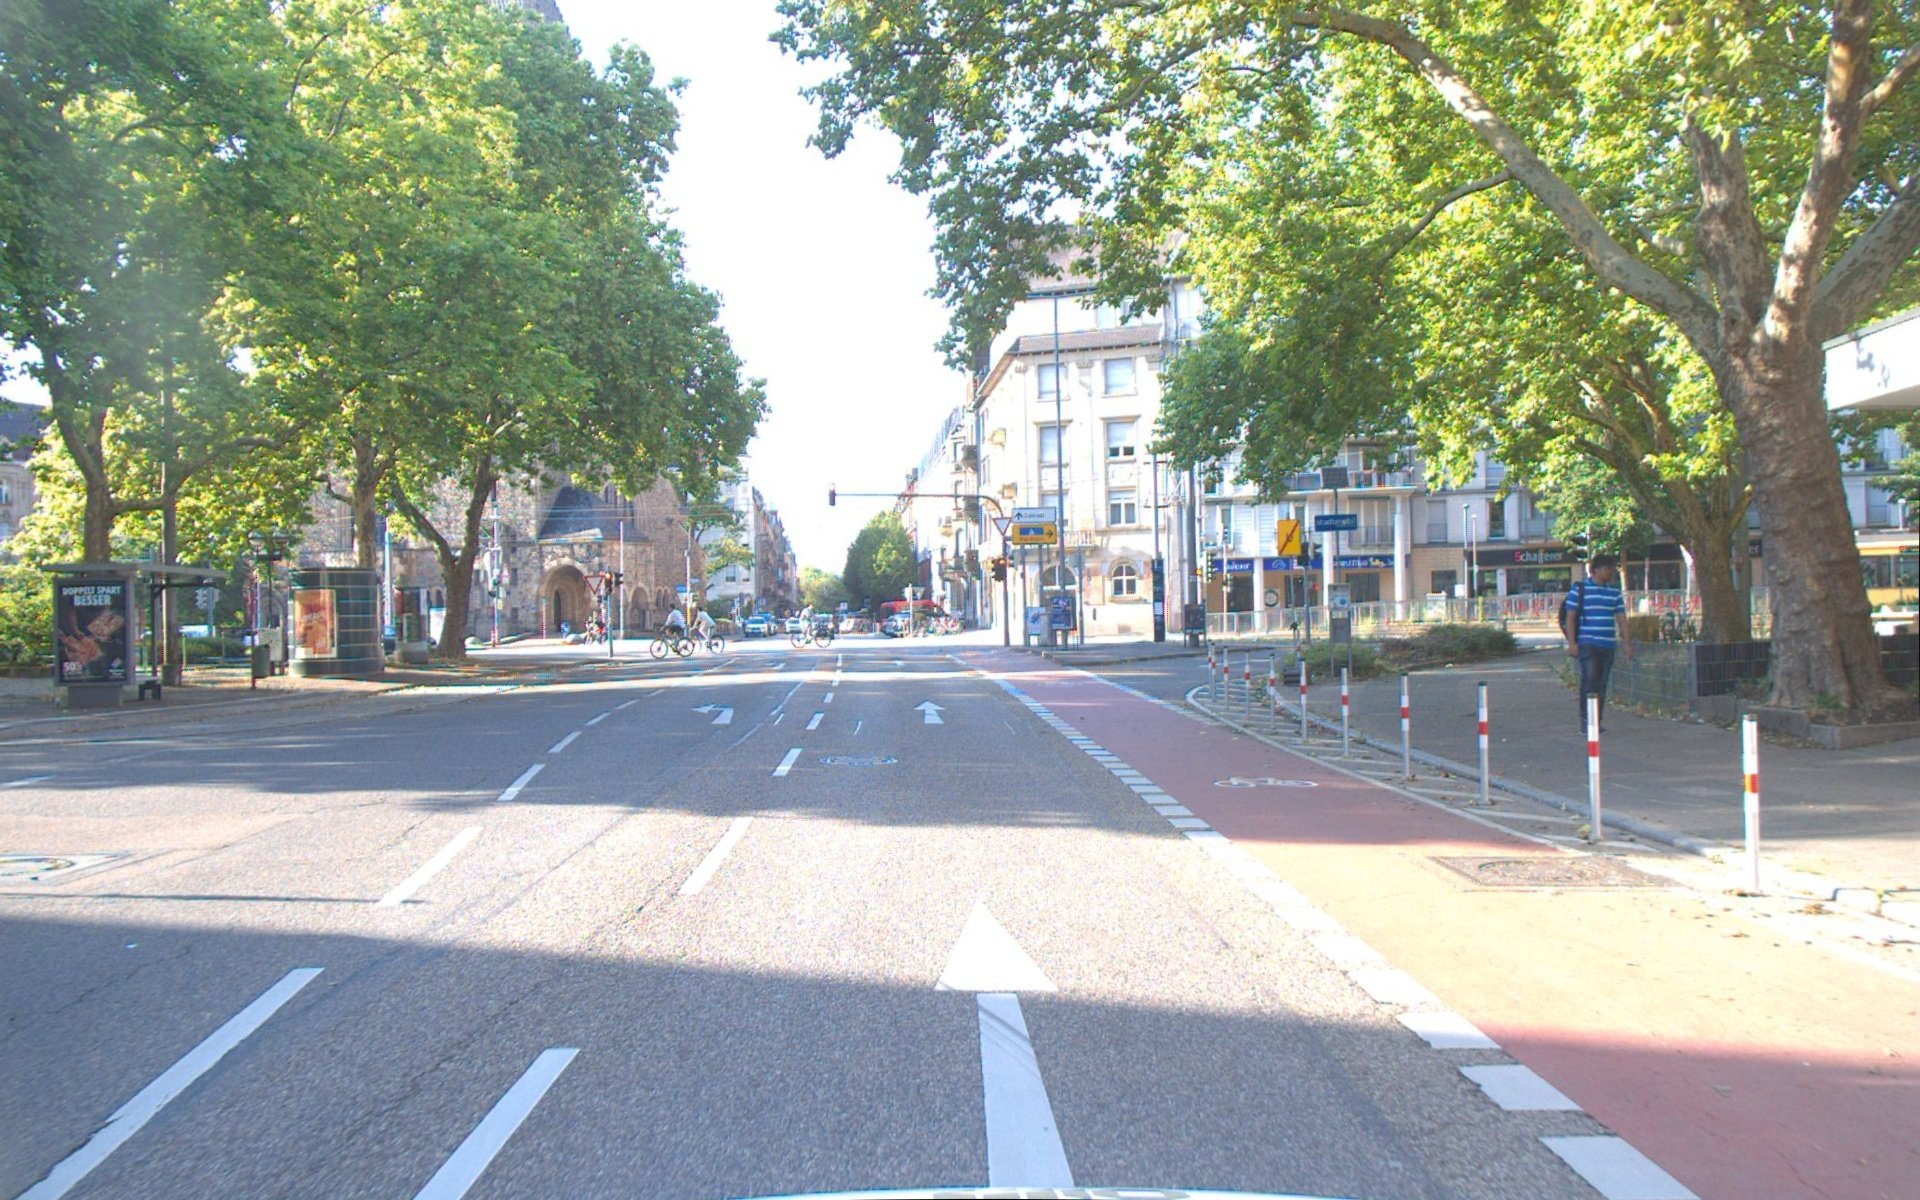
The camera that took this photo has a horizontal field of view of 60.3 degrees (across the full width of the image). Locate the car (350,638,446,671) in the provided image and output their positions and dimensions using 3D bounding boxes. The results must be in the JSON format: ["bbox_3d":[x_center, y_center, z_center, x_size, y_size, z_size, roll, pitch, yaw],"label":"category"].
[{"bbox_3d":[-25.263,2.447,74.378,3.843,1.421,1.653,0,-2,17],"label":"car"}]

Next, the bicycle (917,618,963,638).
[{"bbox_3d":[-1.241,1.724,101.724,2.750,1.225,0.509,1,-2,-7],"label":"bicycle"}]

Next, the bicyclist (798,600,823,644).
[{"bbox_3d":[-5.855,0.871,64.779,0.785,1.686,0.935,0,-2,8],"label":"bicyclist"}]

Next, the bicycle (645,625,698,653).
[{"bbox_3d":[-10.462,1.415,59.988,1.745,0.999,0.657,0,-2,14],"label":"bicycle"}]

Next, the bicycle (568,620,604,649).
[{"bbox_3d":[-23.309,2.168,103.184,1.259,1.781,4.000,0,-2,1],"label":"bicycle"}]

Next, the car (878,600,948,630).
[{"bbox_3d":[-3.447,1.123,121.971,4.955,2.049,2.136,2,-3,-40],"label":"car"}]

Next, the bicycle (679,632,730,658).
[{"bbox_3d":[-9.521,1.667,61.654,1.745,0.911,0.750,-2,-1,24],"label":"bicycle"}]

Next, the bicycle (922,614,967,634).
[{"bbox_3d":[-0.971,1.513,103.765,2.750,1.225,0.509,1,-2,-7],"label":"bicycle"}]

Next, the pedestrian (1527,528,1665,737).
[{"bbox_3d":[6.613,0.344,17.256,0.810,2.048,1.152,-4,-2,-1],"label":"pedestrian"}]

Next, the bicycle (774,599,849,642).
[{"bbox_3d":[-5.795,0.806,64.742,2.781,1.685,0.831,0,-2,8],"label":"bicycle"}]

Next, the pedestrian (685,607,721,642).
[{"bbox_3d":[-9.593,0.924,61.710,1.027,1.300,0.791,-1,-3,24],"label":"pedestrian"}]

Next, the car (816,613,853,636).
[{"bbox_3d":[-8.369,1.637,110.503,1.553,1.488,3.185,0,-2,13],"label":"car"}]

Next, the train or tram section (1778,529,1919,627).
[{"bbox_3d":[38.571,-0.829,64.603,11.546,3.704,3.417,0,-2,21],"label":"train or tram section"}]

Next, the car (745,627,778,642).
[{"bbox_3d":[-16.364,2.825,136.592,1.560,1.164,3.386,0,-2,14],"label":"car"}]

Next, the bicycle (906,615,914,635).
[{"bbox_3d":[-3.152,1.590,105.109,0.498,1.225,2.090,1,-2,-2],"label":"bicycle"}]

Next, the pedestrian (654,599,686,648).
[{"bbox_3d":[-10.523,0.850,60.003,0.970,1.738,0.628,0,-2,15],"label":"pedestrian"}]

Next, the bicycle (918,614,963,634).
[{"bbox_3d":[-1.201,1.491,103.054,2.750,1.225,0.516,1,-2,-7],"label":"bicycle"}]
